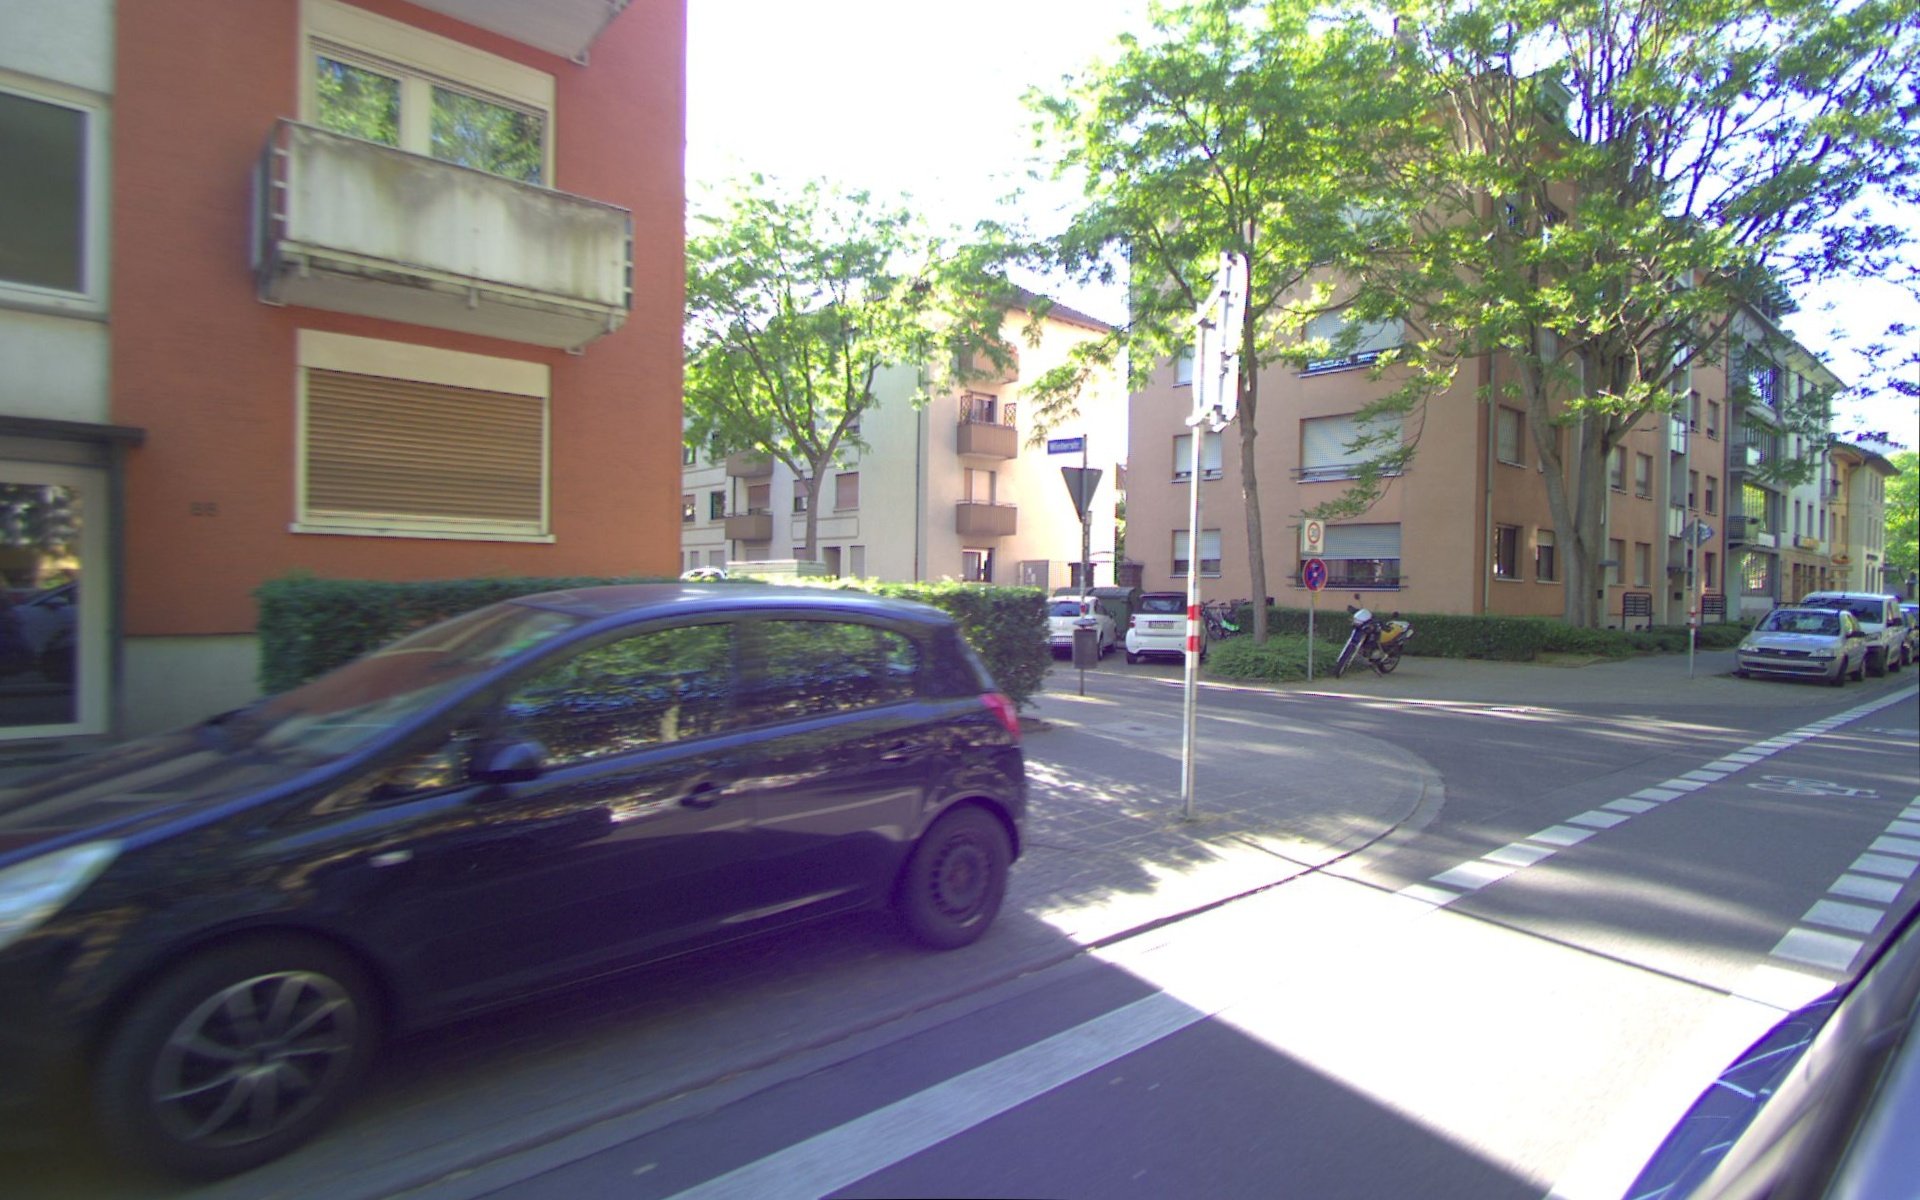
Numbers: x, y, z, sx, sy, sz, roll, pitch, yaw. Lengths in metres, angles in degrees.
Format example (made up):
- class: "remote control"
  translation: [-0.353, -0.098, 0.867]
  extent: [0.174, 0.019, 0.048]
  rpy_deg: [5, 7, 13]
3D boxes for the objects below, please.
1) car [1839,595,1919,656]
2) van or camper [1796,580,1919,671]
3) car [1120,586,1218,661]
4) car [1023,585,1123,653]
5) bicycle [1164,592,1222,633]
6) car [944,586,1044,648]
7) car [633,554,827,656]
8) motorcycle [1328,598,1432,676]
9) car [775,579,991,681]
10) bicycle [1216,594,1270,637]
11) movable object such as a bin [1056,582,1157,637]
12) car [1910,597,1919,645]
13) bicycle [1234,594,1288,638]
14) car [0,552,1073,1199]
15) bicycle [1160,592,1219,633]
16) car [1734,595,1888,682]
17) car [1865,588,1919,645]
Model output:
- class: "car"
  translation: [25.126, 0.645, 27.200]
  extent: [4.095, 1.491, 1.709]
  rpy_deg: [0, 1, -41]
- class: "van or camper"
  translation: [20.873, 0.517, 23.363]
  extent: [4.747, 1.887, 1.757]
  rpy_deg: [0, 1, -42]
- class: "car"
  translation: [4.884, 0.468, 23.235]
  extent: [1.705, 1.560, 3.975]
  rpy_deg: [1, 1, 19]
- class: "car"
  translation: [2.786, 0.389, 24.238]
  extent: [1.704, 1.479, 3.924]
  rpy_deg: [1, 1, 17]
- class: "bicycle"
  translation: [6.874, 0.366, 29.903]
  extent: [0.442, 1.180, 1.773]
  rpy_deg: [0, 0, -40]
- class: "car"
  translation: [0.962, 0.386, 26.310]
  extent: [1.644, 1.479, 3.924]
  rpy_deg: [1, 1, 17]
- class: "car"
  translation: [-4.830, 0.084, 20.768]
  extent: [1.969, 1.816, 4.732]
  rpy_deg: [4, -1, -38]
- class: "motorcycle"
  translation: [7.716, 0.645, 18.544]
  extent: [2.214, 1.314, 0.680]
  rpy_deg: [-1, 1, -35]
- class: "car"
  translation: [-1.387, 0.450, 16.950]
  extent: [1.533, 1.501, 3.920]
  rpy_deg: [4, -2, -41]
- class: "bicycle"
  translation: [7.658, 0.405, 27.353]
  extent: [1.744, 1.113, 0.513]
  rpy_deg: [-1, 0, -41]
- class: "movable object such as a bin"
  translation: [4.115, 0.233, 28.516]
  extent: [1.355, 1.436, 2.543]
  rpy_deg: [-2, 2, -43]
- class: "car"
  translation: [32.840, 0.701, 33.384]
  extent: [4.248, 1.540, 1.791]
  rpy_deg: [0, 3, -42]
- class: "bicycle"
  translation: [8.014, 0.404, 26.931]
  extent: [1.744, 1.113, 0.513]
  rpy_deg: [-1, 0, -41]
- class: "car"
  translation: [-1.535, 0.620, 3.827]
  extent: [3.848, 1.480, 1.737]
  rpy_deg: [0, 3, -41]
- class: "bicycle"
  translation: [6.747, 0.365, 29.795]
  extent: [0.442, 1.185, 1.773]
  rpy_deg: [0, 0, -40]
- class: "car"
  translation: [16.756, 0.677, 19.865]
  extent: [3.930, 1.491, 1.709]
  rpy_deg: [0, 1, -41]
- class: "car"
  translation: [28.874, 0.473, 30.556]
  extent: [4.261, 1.591, 1.771]
  rpy_deg: [0, 3, -41]
